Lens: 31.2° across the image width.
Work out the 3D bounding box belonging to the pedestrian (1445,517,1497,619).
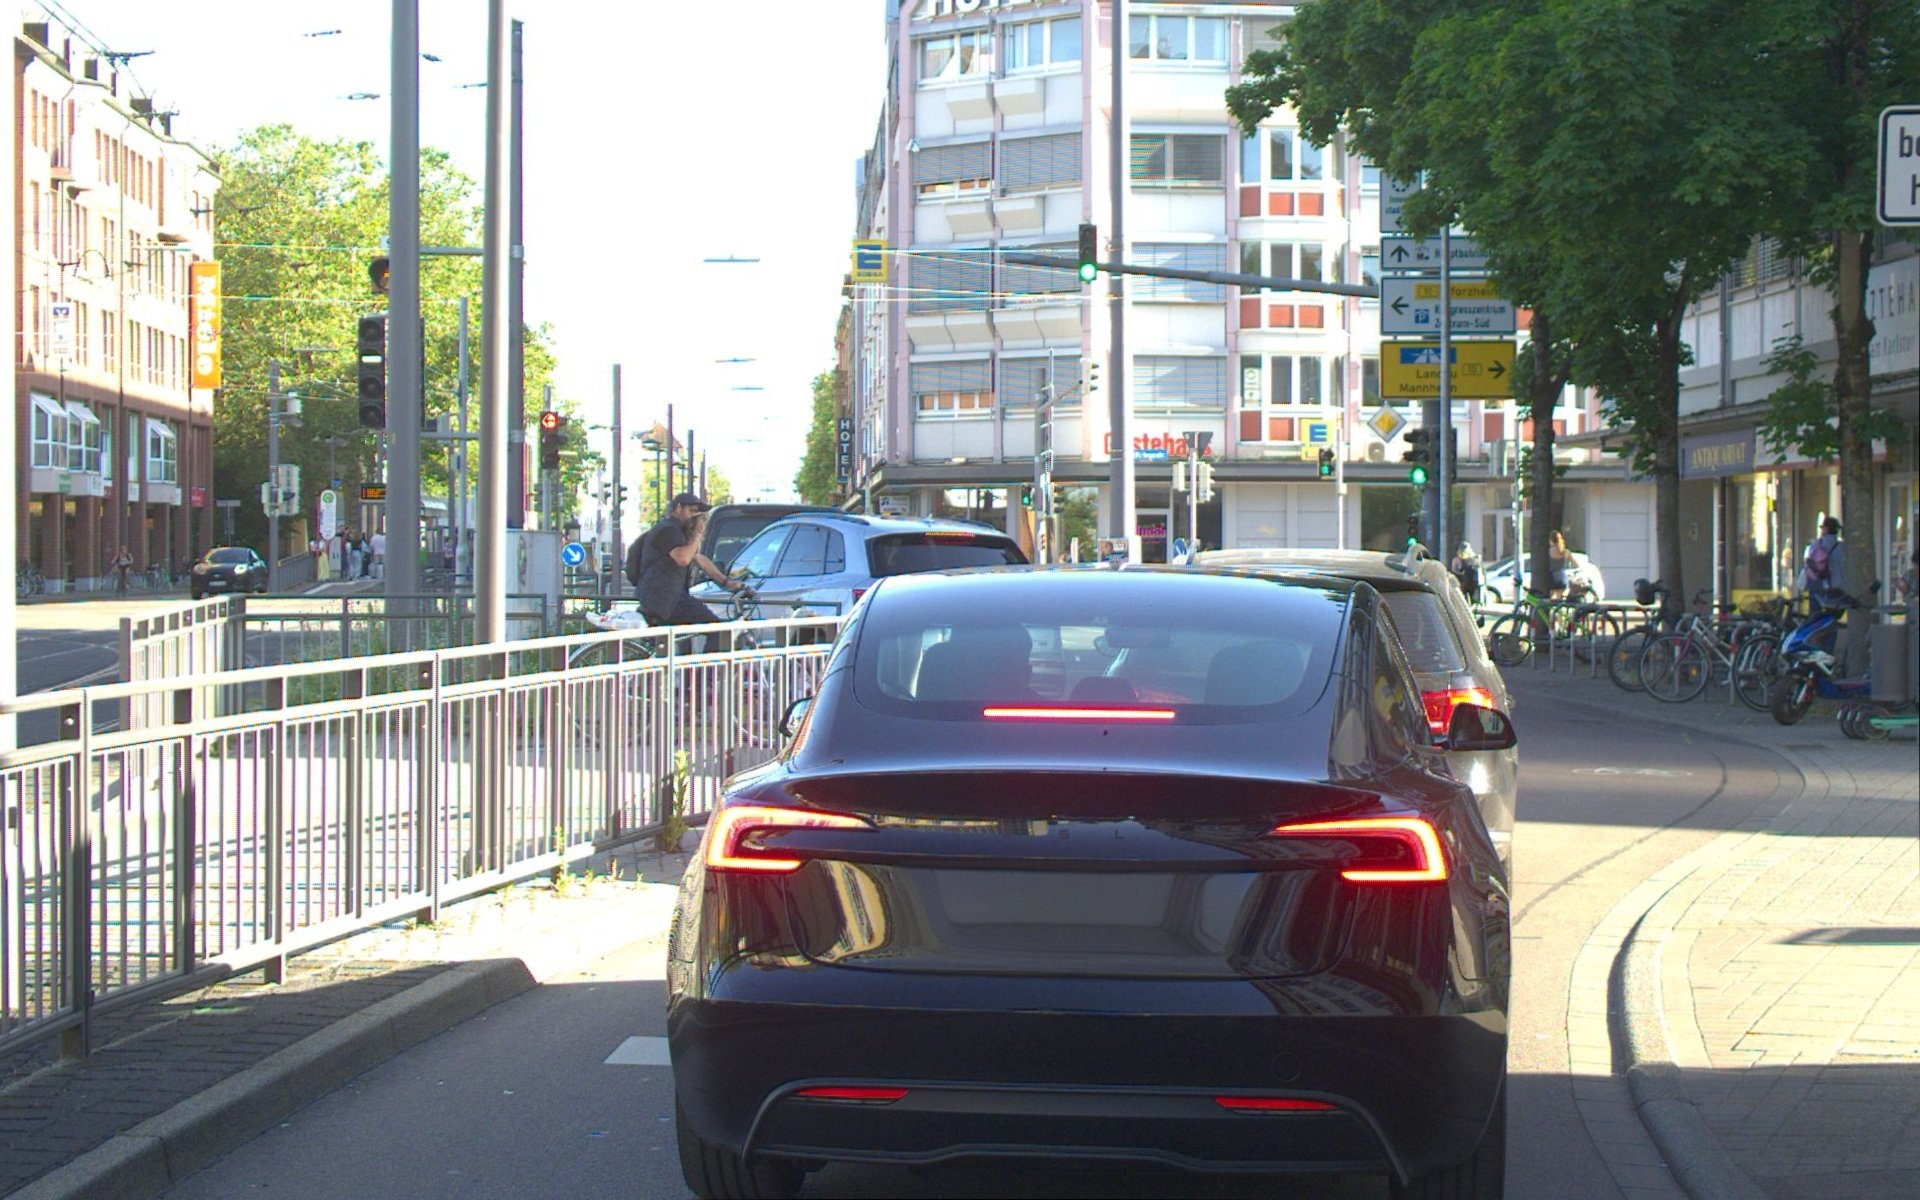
[{"bbox_3d":[8.400,-0.520,56.553,0.699,1.656,0.777,1,0,-1],"label":"pedestrian"}]

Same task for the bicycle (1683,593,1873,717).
[{"bbox_3d":[7.382,0.493,31.017,1.649,1.095,0.350,1,0,-10],"label":"bicycle"}]

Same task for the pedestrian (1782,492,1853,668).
[{"bbox_3d":[9.893,-0.231,39.665,0.662,2.007,0.579,1,0,2],"label":"pedestrian"}]

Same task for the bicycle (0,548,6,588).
[{"bbox_3d":[-26.160,-0.856,92.128,0.529,1.085,2.225,0,1,1],"label":"bicycle"}]

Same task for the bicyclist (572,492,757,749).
[{"bbox_3d":[-1.918,0.122,22.294,0.758,1.623,0.978,0,1,-39],"label":"bicyclist"}]

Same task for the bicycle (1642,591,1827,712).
[{"bbox_3d":[7.180,0.474,31.862,1.649,1.095,0.350,1,0,-10],"label":"bicycle"}]

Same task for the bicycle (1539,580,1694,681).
[{"bbox_3d":[7.309,0.340,38.290,1.650,1.095,0.350,1,0,1],"label":"bicycle"}]

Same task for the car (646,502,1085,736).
[{"bbox_3d":[-0.822,0.112,26.552,1.883,1.656,4.159,1,1,-25],"label":"car"}]

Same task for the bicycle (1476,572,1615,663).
[{"bbox_3d":[7.230,0.218,42.469,1.650,1.095,0.350,1,0,1],"label":"bicycle"}]

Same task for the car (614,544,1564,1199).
[{"bbox_3d":[0.393,0.611,8.678,1.829,1.450,3.999,1,1,4],"label":"car"}]

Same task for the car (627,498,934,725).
[{"bbox_3d":[-1.773,0.075,32.595,1.993,2.007,4.001,0,1,-17],"label":"car"}]

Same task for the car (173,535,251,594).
[{"bbox_3d":[-22.685,-1.085,104.375,1.697,1.725,3.707,1,1,-3],"label":"car"}]

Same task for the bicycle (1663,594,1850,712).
[{"bbox_3d":[7.286,0.486,31.438,1.649,1.057,0.350,1,0,-10],"label":"bicycle"}]

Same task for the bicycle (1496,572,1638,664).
[{"bbox_3d":[7.298,0.209,41.375,1.650,1.095,0.350,0,1,1],"label":"bicycle"}]

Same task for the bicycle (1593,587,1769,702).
[{"bbox_3d":[6.999,0.431,33.389,1.649,1.095,0.350,1,0,-10],"label":"bicycle"}]

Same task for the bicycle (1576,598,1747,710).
[{"bbox_3d":[7.007,0.535,34.336,1.649,1.095,0.350,1,0,-10],"label":"bicycle"}]

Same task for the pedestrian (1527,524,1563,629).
[{"bbox_3d":[9.651,-0.388,56.714,0.526,1.704,0.403,1,0,3],"label":"pedestrian"}]

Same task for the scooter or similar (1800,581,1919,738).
[{"bbox_3d":[7.556,0.470,27.179,1.644,1.211,0.644,1,0,30],"label":"scooter or similar"}]

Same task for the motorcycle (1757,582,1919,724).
[{"bbox_3d":[7.712,0.450,29.253,1.707,1.169,0.541,1,0,-2],"label":"motorcycle"}]

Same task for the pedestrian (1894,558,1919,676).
[{"bbox_3d":[10.938,0.196,39.281,0.389,1.339,0.513,1,0,2],"label":"pedestrian"}]

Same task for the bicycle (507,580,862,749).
[{"bbox_3d":[-1.774,0.409,22.439,2.329,1.050,0.631,0,1,-38],"label":"bicycle"}]

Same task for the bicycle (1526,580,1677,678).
[{"bbox_3d":[7.329,0.326,39.317,1.650,1.095,0.350,1,0,1],"label":"bicycle"}]

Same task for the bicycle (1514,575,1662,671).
[{"bbox_3d":[7.361,0.266,40.330,1.650,1.095,0.350,1,0,1],"label":"bicycle"}]

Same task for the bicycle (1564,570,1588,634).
[{"bbox_3d":[10.087,0.031,56.300,0.332,1.030,1.256,1,0,9],"label":"bicycle"}]

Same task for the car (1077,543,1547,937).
[{"bbox_3d":[1.532,0.493,15.012,1.751,1.449,3.999,1,1,6],"label":"car"}]

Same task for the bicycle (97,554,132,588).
[{"bbox_3d":[-27.475,-0.931,111.794,0.529,1.085,2.224,1,1,1],"label":"bicycle"}]

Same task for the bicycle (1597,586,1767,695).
[{"bbox_3d":[7.417,0.415,35.338,1.650,1.095,0.350,1,0,1],"label":"bicycle"}]
